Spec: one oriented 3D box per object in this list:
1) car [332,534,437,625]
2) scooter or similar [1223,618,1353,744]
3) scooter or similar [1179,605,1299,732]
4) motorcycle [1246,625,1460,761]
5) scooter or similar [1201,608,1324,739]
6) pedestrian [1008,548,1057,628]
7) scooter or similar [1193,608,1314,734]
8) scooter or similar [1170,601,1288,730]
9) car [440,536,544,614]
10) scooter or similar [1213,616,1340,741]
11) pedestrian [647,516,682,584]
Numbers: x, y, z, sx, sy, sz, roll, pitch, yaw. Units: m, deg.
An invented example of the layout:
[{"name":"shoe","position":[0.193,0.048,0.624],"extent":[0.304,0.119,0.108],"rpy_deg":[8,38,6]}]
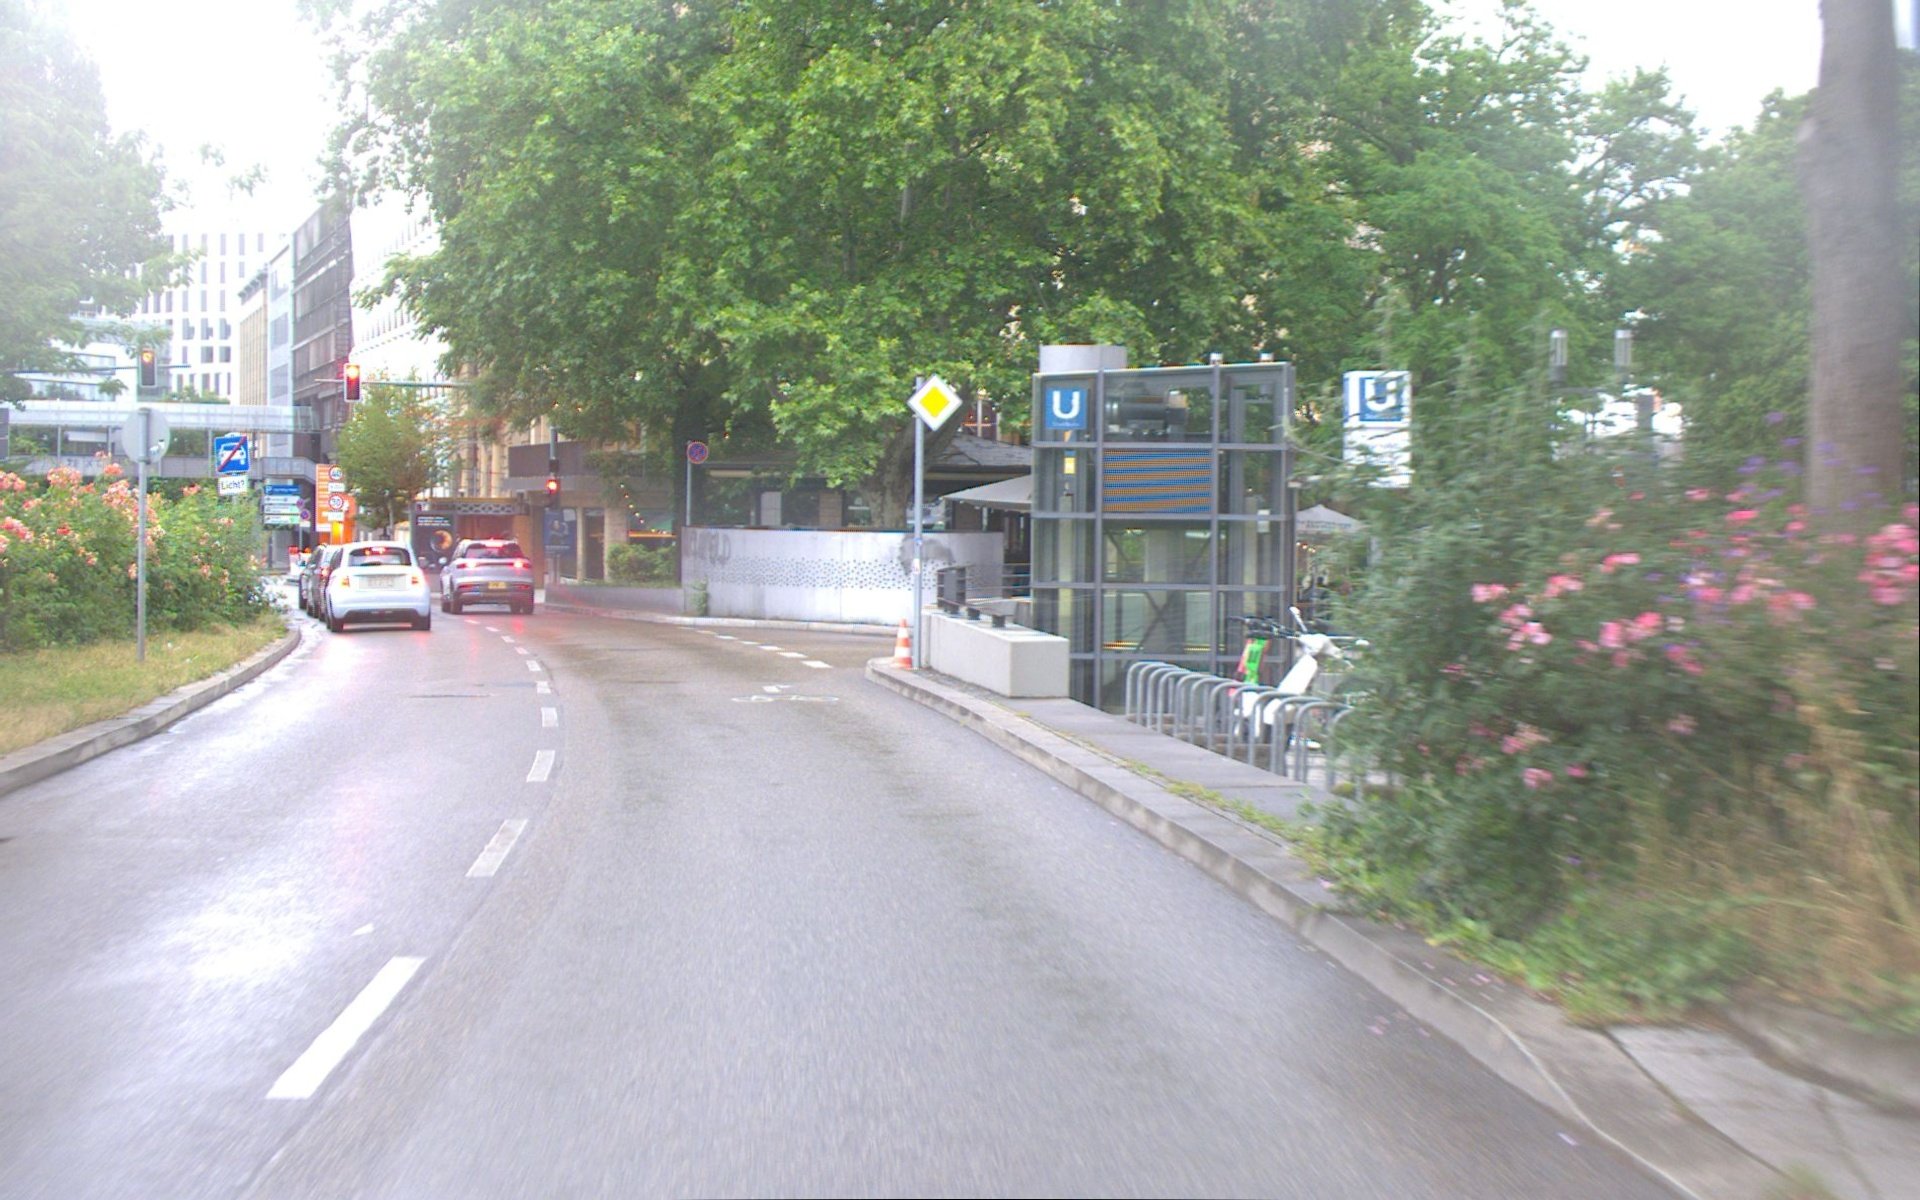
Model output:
[{"name":"car","position":[-9.935,-0.374,59.232],"extent":[1.590,1.486,3.506],"rpy_deg":[-1,1,-12]},{"name":"scooter or similar","position":[3.116,0.768,32.727],"extent":[1.112,1.154,0.532],"rpy_deg":[2,1,-7]},{"name":"scooter or similar","position":[2.803,0.687,34.525],"extent":[1.112,1.230,0.365],"rpy_deg":[2,1,-7]},{"name":"motorcycle","position":[3.516,0.831,30.831],"extent":[1.776,1.154,0.607],"rpy_deg":[2,1,-7]},{"name":"scooter or similar","position":[2.960,0.719,33.694],"extent":[1.112,1.233,0.365],"rpy_deg":[2,1,-7]},{"name":"pedestrian","position":[1.320,-0.210,62.388],"extent":[0.684,1.405,0.905],"rpy_deg":[3,0,-8]},{"name":"scooter or similar","position":[2.907,0.704,34.105],"extent":[1.112,1.212,0.365],"rpy_deg":[2,1,-7]},{"name":"scooter or similar","position":[2.729,0.665,34.932],"extent":[1.112,1.265,0.365],"rpy_deg":[2,1,-7]},{"name":"car","position":[-10.513,-0.557,76.986],"extent":[1.946,1.660,4.346],"rpy_deg":[1,0,-12]},{"name":"scooter or similar","position":[3.057,0.756,33.240],"extent":[1.112,1.154,0.443],"rpy_deg":[2,1,-7]},{"name":"pedestrian","position":[-7.806,-1.318,90.859],"extent":[0.858,1.774,0.718],"rpy_deg":[0,0,-9]}]
